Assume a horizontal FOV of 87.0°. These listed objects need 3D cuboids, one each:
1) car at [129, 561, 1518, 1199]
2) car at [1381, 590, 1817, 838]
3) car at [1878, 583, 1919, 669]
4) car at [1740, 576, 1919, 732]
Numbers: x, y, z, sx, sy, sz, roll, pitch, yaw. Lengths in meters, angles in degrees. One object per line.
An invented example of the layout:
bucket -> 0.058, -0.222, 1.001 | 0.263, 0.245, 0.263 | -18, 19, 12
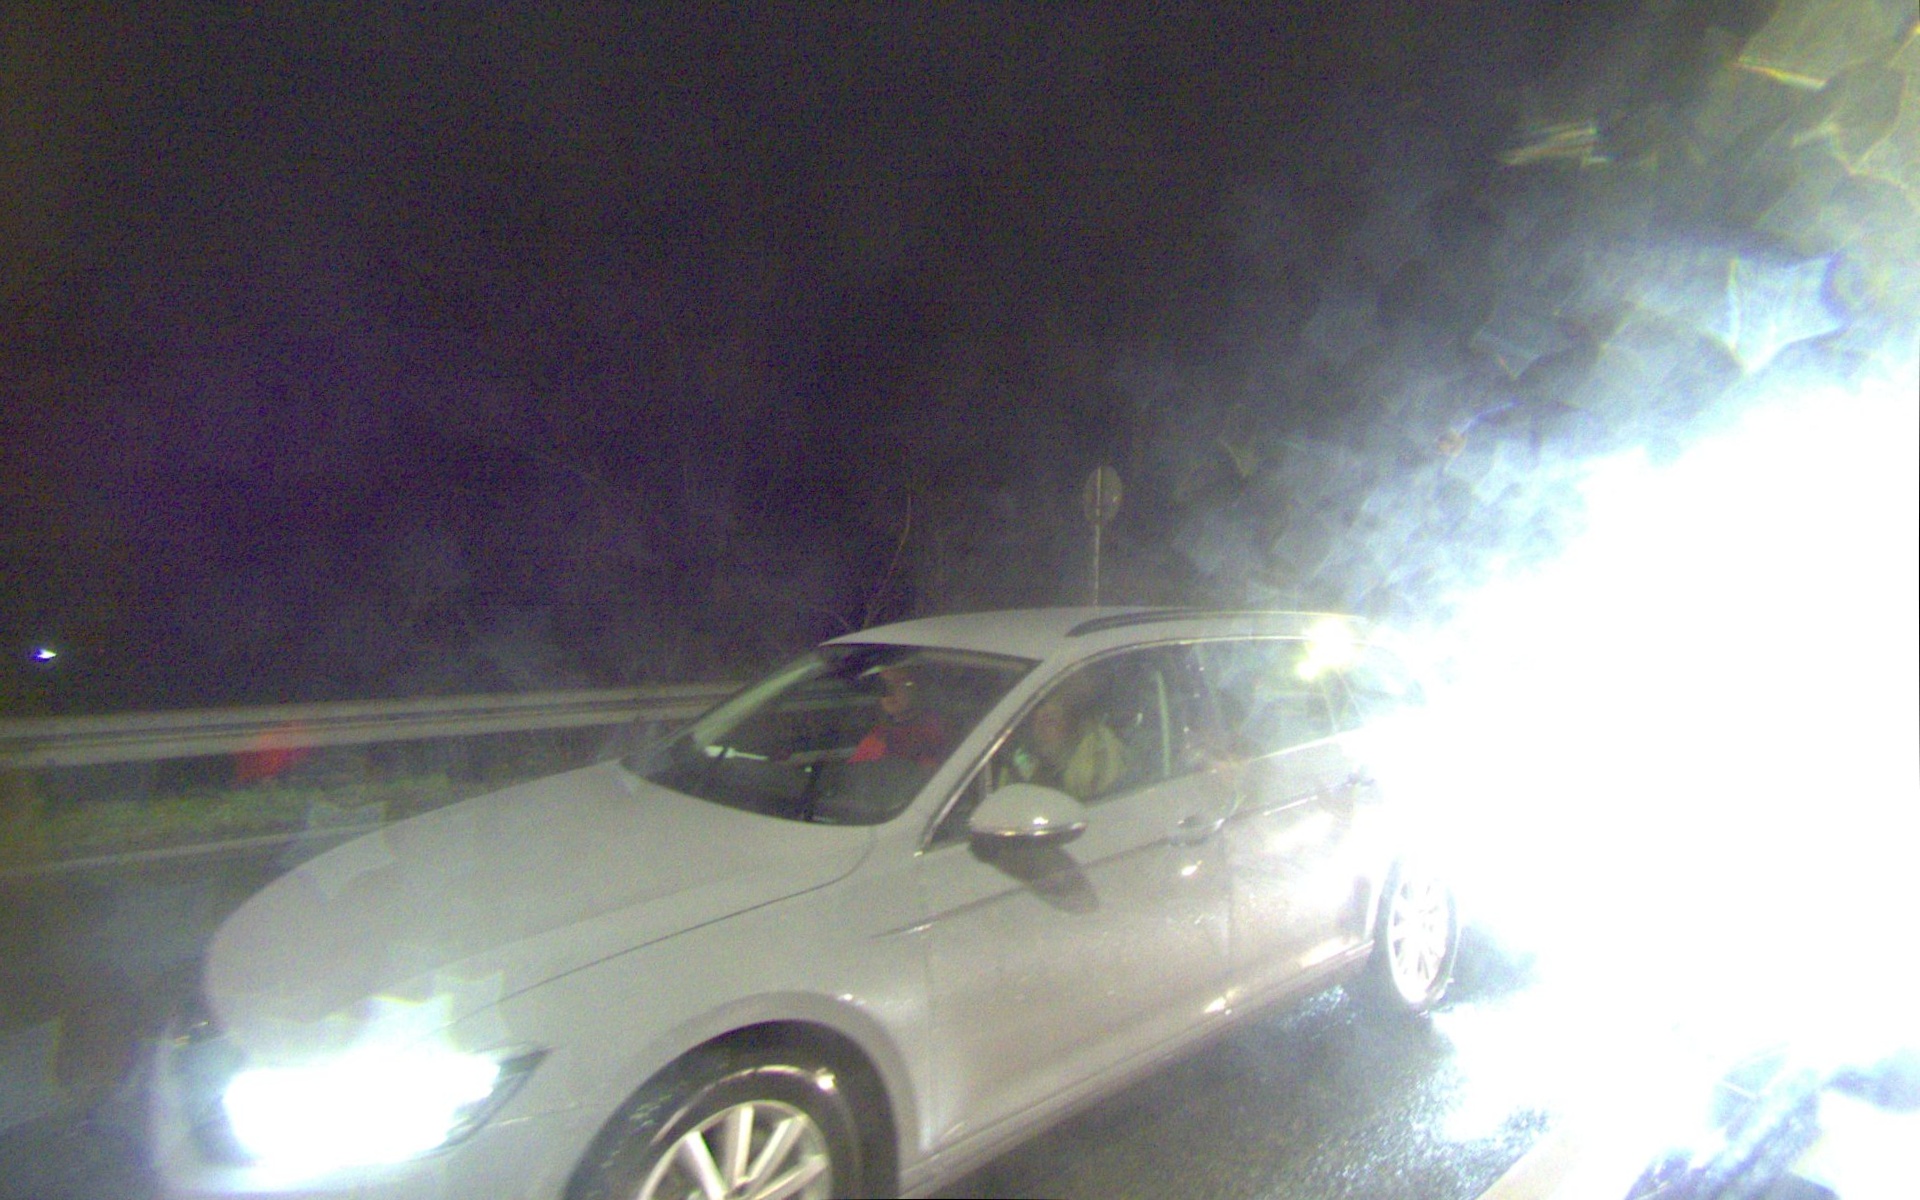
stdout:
car -> 0.056, 0.689, 3.355 | 4.336, 1.540, 1.710 | -1, 1, -40
car -> 5.150, 0.653, 7.940 | 4.066, 1.435, 1.742 | -1, 1, -40
car -> 19.895, 0.479, 20.061 | 4.315, 1.618, 1.997 | -1, 2, -41
car -> 11.337, 0.536, 12.390 | 4.315, 1.618, 1.997 | -1, 2, -41
